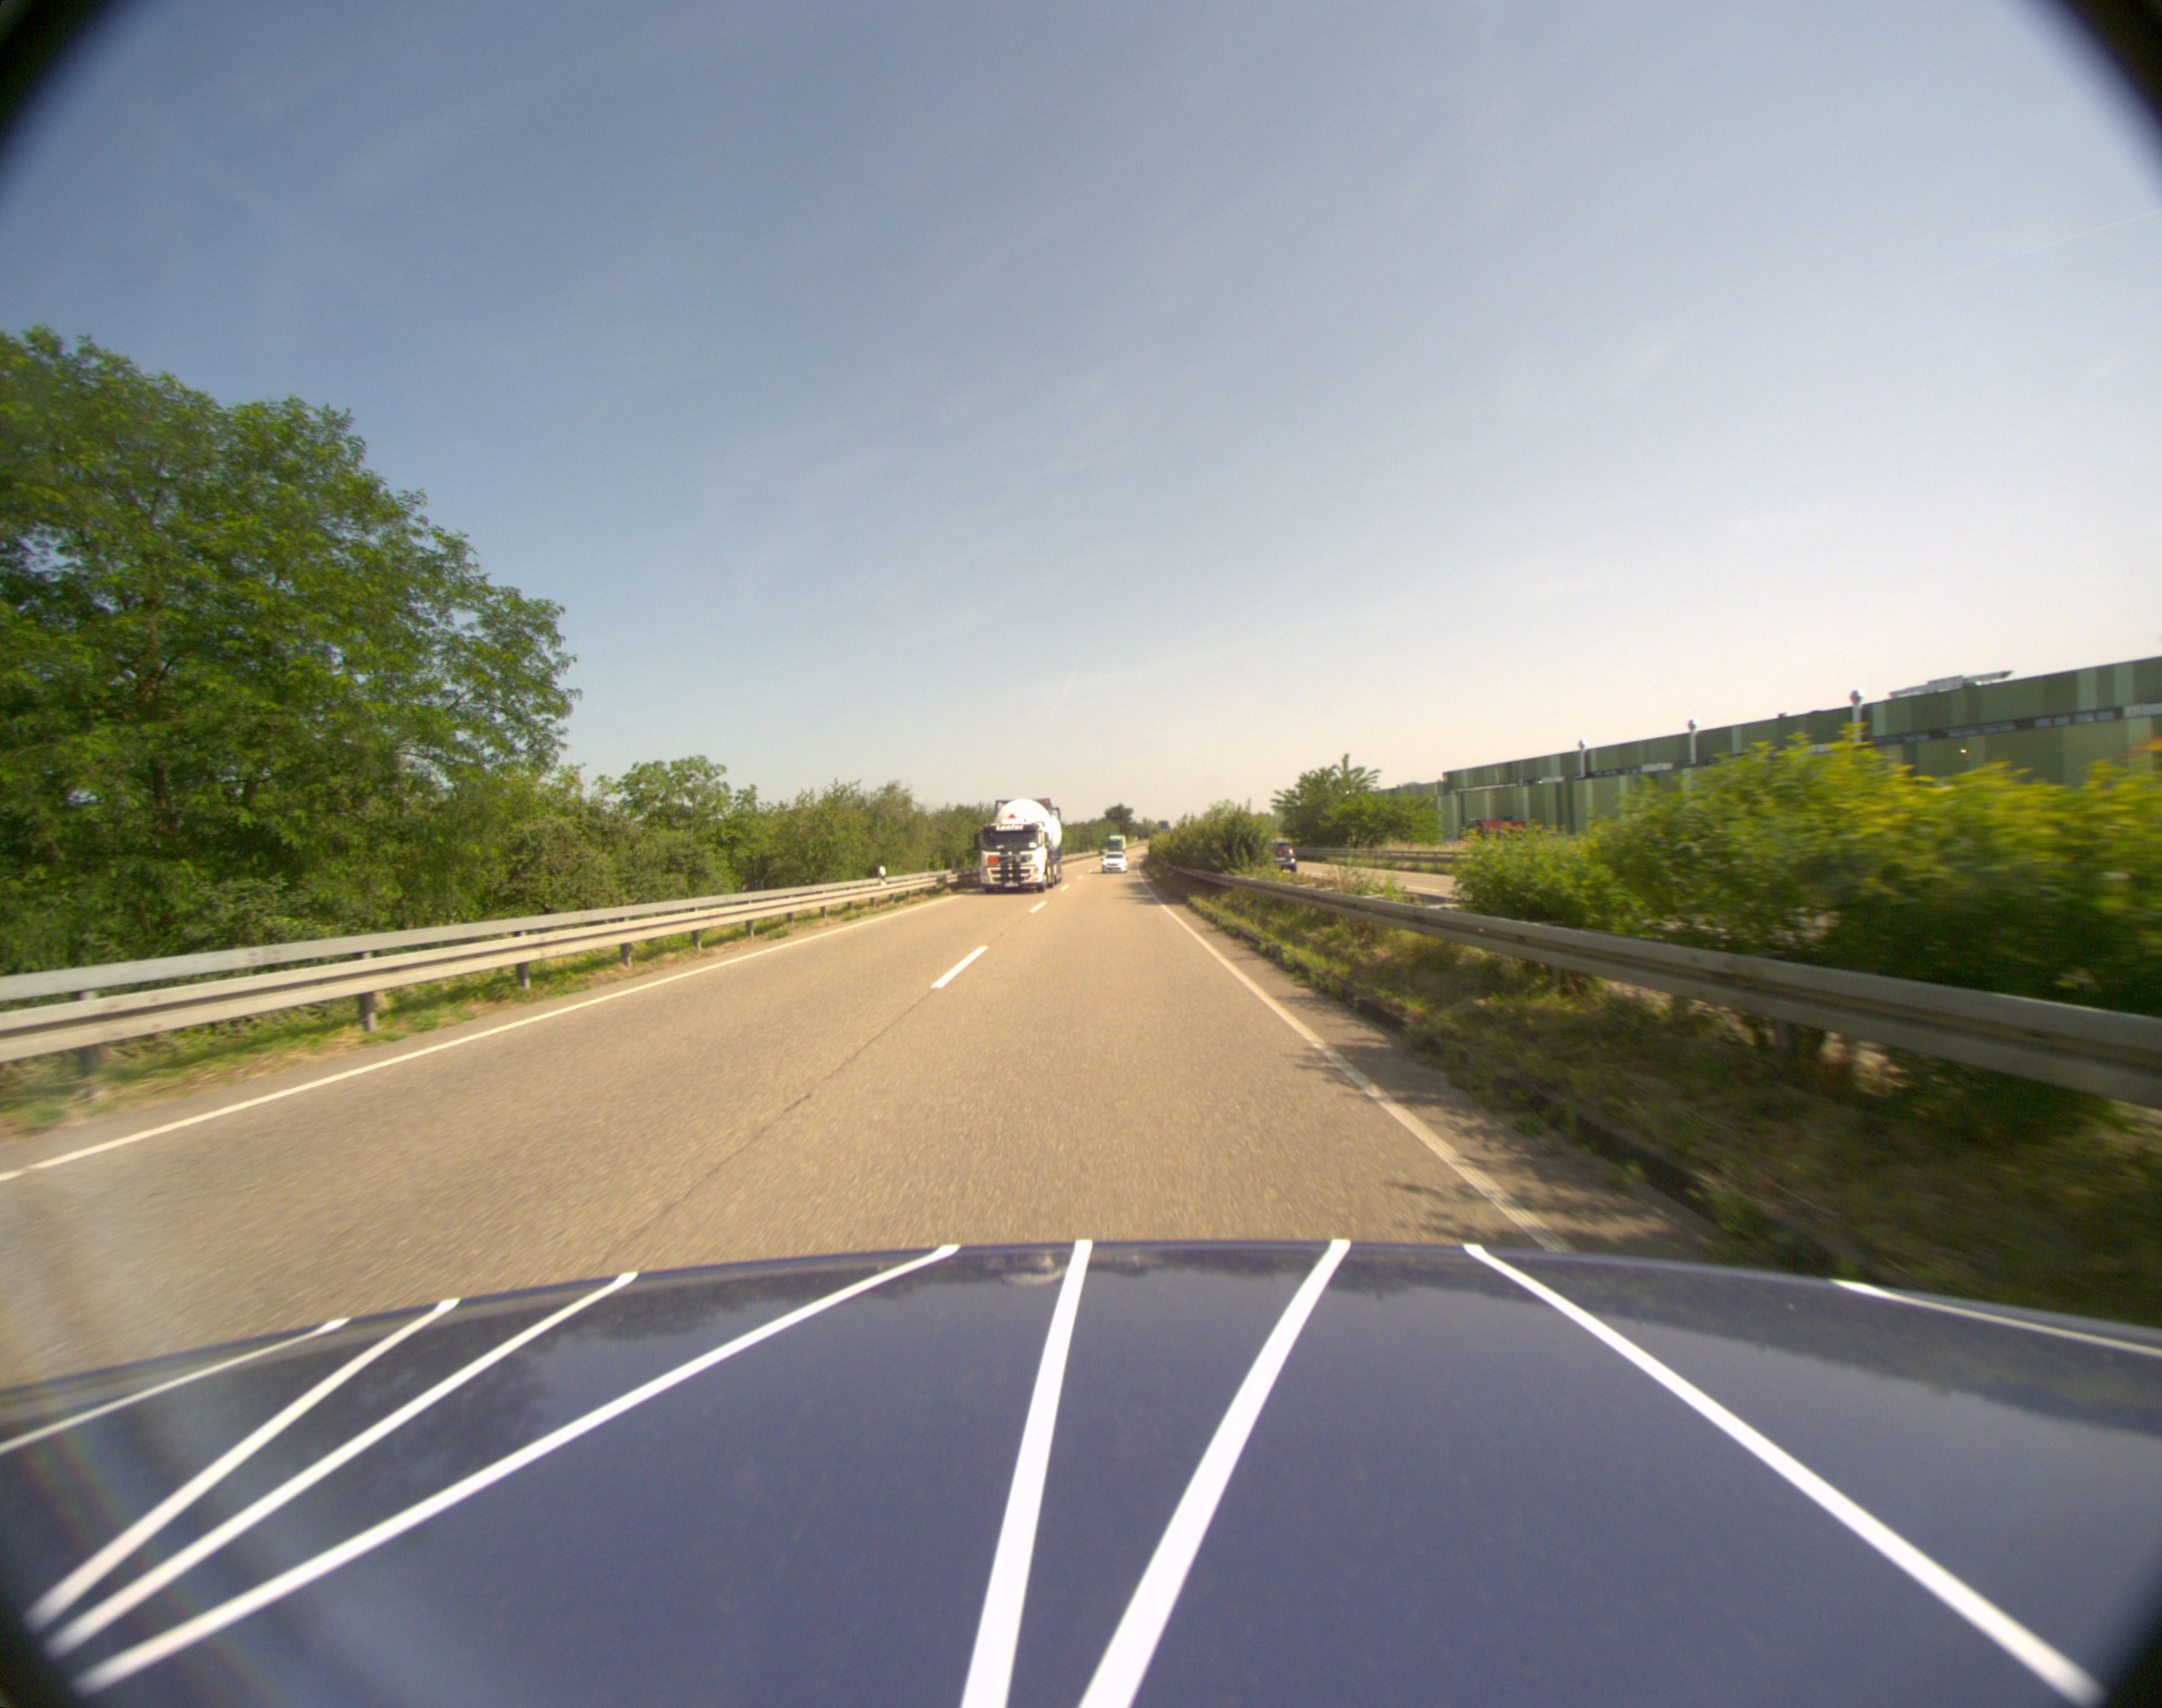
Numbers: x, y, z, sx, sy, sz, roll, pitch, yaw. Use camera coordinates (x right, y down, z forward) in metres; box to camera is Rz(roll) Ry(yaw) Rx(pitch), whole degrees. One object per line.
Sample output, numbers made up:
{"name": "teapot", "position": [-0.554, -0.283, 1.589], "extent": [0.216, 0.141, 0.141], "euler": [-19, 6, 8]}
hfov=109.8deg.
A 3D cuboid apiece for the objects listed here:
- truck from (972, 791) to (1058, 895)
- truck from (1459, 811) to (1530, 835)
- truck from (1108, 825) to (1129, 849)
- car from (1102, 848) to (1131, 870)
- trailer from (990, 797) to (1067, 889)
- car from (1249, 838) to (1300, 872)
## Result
{"name": "truck", "position": [-2.615, -0.453, 31.897], "extent": [2.778, 3.939, 5.627], "euler": [-1, 1, 3]}
{"name": "truck", "position": [58.768, -4.321, 108.356], "extent": [2.962, 3.034, 11.522], "euler": [-2, 1, -5]}
{"name": "truck", "position": [6.839, -3.146, 138.038], "extent": [2.546, 4.136, 8.444], "euler": [-1, 1, 11]}
{"name": "car", "position": [2.557, 0.354, 53.948], "extent": [1.788, 1.428, 4.001], "euler": [-2, 1, 6]}
{"name": "trailer", "position": [-2.366, -0.540, 37.270], "extent": [2.763, 3.968, 8.186], "euler": [-1, 1, 3]}
{"name": "car", "position": [9.650, 0.026, 38.162], "extent": [1.596, 1.613, 4.321], "euler": [-1, 1, 3]}
